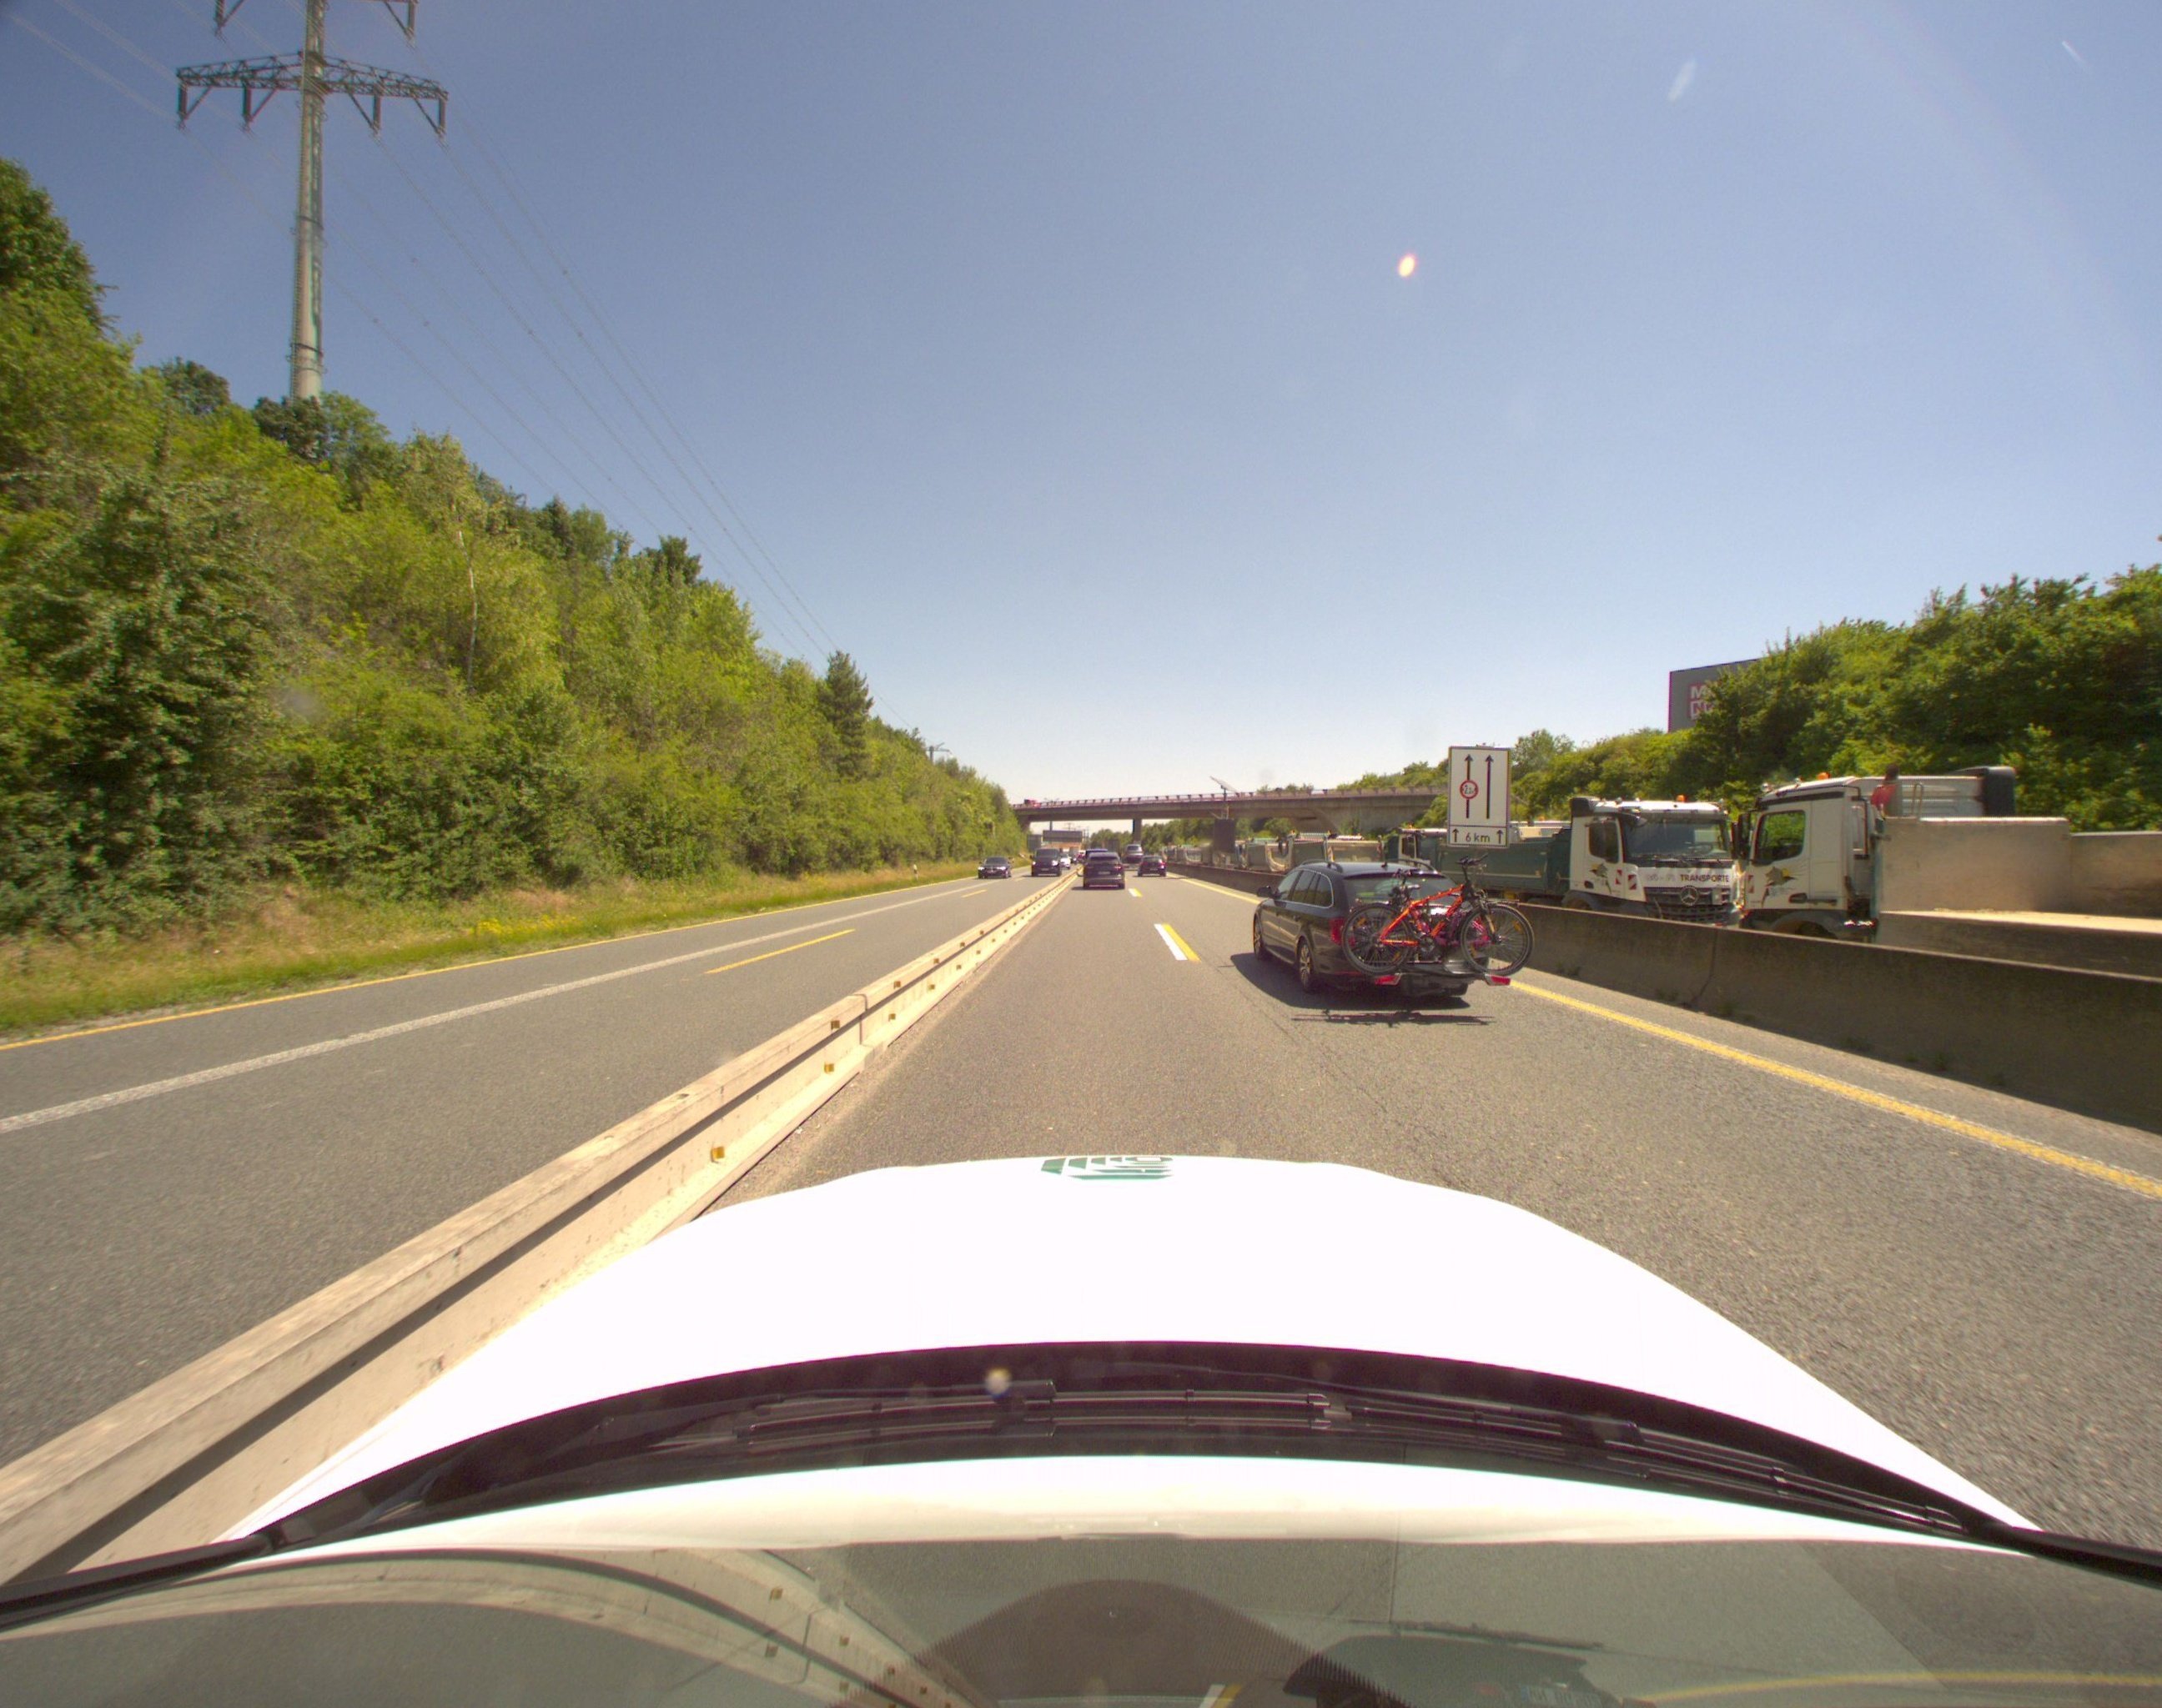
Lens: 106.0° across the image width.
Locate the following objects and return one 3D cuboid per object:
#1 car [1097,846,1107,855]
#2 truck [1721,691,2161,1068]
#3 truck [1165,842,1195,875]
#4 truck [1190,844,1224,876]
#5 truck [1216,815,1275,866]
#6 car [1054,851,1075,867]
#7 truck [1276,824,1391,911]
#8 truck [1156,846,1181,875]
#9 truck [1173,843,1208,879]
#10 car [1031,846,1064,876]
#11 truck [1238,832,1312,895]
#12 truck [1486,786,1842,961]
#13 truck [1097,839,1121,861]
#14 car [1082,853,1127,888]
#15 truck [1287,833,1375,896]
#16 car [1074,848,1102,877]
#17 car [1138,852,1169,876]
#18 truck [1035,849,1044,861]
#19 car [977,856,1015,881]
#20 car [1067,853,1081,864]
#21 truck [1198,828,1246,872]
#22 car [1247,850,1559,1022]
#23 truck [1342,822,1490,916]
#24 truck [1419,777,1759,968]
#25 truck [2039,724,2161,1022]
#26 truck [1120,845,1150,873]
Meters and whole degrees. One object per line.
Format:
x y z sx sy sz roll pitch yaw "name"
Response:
4.590 -0.739 179.884 1.895 1.968 4.271 0 0 -3 "car"
11.349 0.234 8.475 2.524 3.511 8.946 0 0 1 "truck"
12.193 0.566 100.971 2.678 3.856 9.326 0 0 1 "truck"
15.212 0.689 98.895 2.678 3.727 9.325 0 0 0 "truck"
12.329 -0.947 61.881 2.678 3.557 9.325 0 0 0 "truck"
-1.665 0.460 82.370 1.837 1.533 4.672 1 0 1 "car"
11.504 0.554 38.232 2.677 3.557 9.605 0 0 1 "truck"
12.130 0.902 113.566 2.678 3.843 9.326 0 0 1 "truck"
11.906 0.769 89.327 2.678 3.761 9.326 0 0 1 "truck"
-2.298 0.445 57.047 1.883 2.013 4.820 0 0 2 "car"
11.843 0.538 50.538 2.677 3.557 9.411 0 0 2 "truck"
14.235 0.386 21.351 2.677 3.557 9.605 0 0 1 "truck"
4.956 -0.676 144.536 3.286 3.845 10.096 0 0 -4 "truck"
1.067 0.705 36.475 1.892 1.505 4.278 0 0 2 "car"
14.595 0.581 48.413 2.677 3.378 9.608 0 0 2 "truck"
0.525 0.598 57.335 1.892 1.968 4.278 0 0 2 "car"
4.857 0.671 55.205 1.892 1.585 4.278 0 0 2 "car"
-12.222 0.287 239.214 2.503 3.186 10.096 0 0 -4 "truck"
-5.454 0.875 52.687 1.786 1.525 4.533 0 0 2 "car"
-1.015 0.653 116.680 1.837 1.533 4.672 1 0 1 "car"
12.216 -0.328 71.506 2.678 3.557 9.325 0 0 0 "truck"
3.323 0.733 9.605 1.892 1.490 4.950 0 0 2 "car"
14.157 0.560 35.458 2.677 3.557 9.605 0 0 1 "truck"
11.450 0.342 19.961 2.529 3.557 9.605 0 0 1 "truck"
13.982 0.222 6.619 2.677 3.511 8.382 0 0 1 "truck"
5.054 0.436 76.867 2.397 2.558 7.500 0 0 0 "truck"
